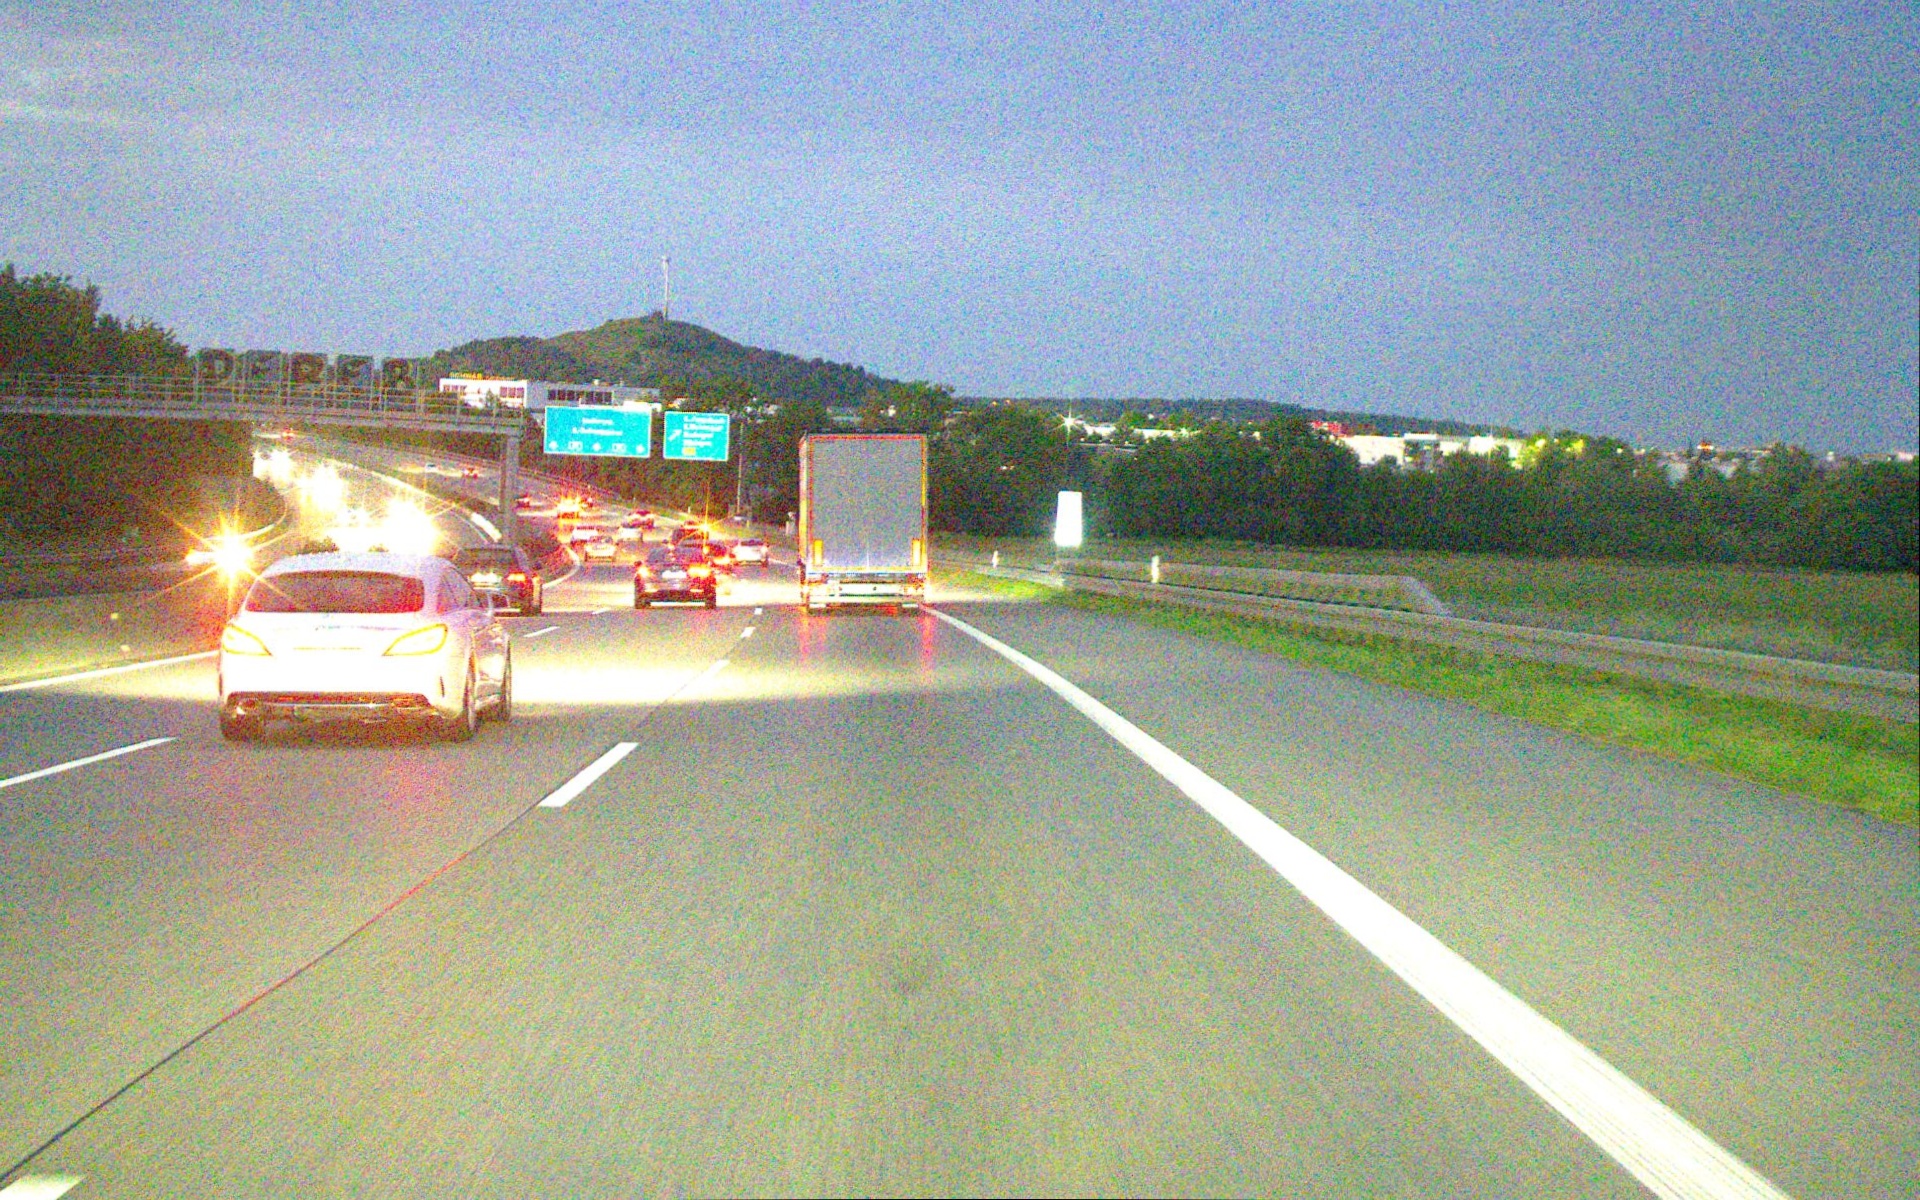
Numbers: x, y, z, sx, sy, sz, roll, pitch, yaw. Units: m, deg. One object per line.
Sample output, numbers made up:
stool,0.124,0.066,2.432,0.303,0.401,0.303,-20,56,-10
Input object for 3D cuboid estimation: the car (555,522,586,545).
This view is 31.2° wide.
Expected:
car,-26.846,-4.582,237.109,1.993,1.463,4.001,1,1,-8

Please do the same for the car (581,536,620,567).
car,-19.340,-2.611,185.068,1.993,1.616,4.001,1,1,-7

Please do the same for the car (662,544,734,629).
car,-7.592,-0.413,99.843,1.993,2.372,4.001,1,1,-3

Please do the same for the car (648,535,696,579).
car,-13.773,-2.050,164.305,1.993,2.007,4.001,1,1,-8

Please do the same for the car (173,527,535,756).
car,-4.655,0.270,27.117,1.906,1.609,4.804,1,1,1

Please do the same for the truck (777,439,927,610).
truck,-2.691,-1.837,86.007,3.550,4.077,6.152,1,0,-1

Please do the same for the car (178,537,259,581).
car,-26.005,-1.436,120.745,1.993,1.500,4.507,1,1,-2

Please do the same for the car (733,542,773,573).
car,-10.598,-2.173,175.657,1.993,1.529,4.001,1,1,-4

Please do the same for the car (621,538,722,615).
car,-6.669,-0.554,79.825,2.065,1.680,4.577,1,1,-2

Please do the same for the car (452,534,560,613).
car,-9.517,-0.563,72.363,1.761,1.569,4.577,1,1,-1

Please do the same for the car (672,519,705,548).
car,-19.533,-4.768,247.170,1.993,1.971,4.001,1,1,-9

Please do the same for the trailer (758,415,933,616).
trailer,-2.567,-1.792,78.580,3.550,4.102,15.064,1,0,-2

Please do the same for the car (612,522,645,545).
car,-23.914,-4.805,247.952,1.993,1.616,4.001,1,1,-10
